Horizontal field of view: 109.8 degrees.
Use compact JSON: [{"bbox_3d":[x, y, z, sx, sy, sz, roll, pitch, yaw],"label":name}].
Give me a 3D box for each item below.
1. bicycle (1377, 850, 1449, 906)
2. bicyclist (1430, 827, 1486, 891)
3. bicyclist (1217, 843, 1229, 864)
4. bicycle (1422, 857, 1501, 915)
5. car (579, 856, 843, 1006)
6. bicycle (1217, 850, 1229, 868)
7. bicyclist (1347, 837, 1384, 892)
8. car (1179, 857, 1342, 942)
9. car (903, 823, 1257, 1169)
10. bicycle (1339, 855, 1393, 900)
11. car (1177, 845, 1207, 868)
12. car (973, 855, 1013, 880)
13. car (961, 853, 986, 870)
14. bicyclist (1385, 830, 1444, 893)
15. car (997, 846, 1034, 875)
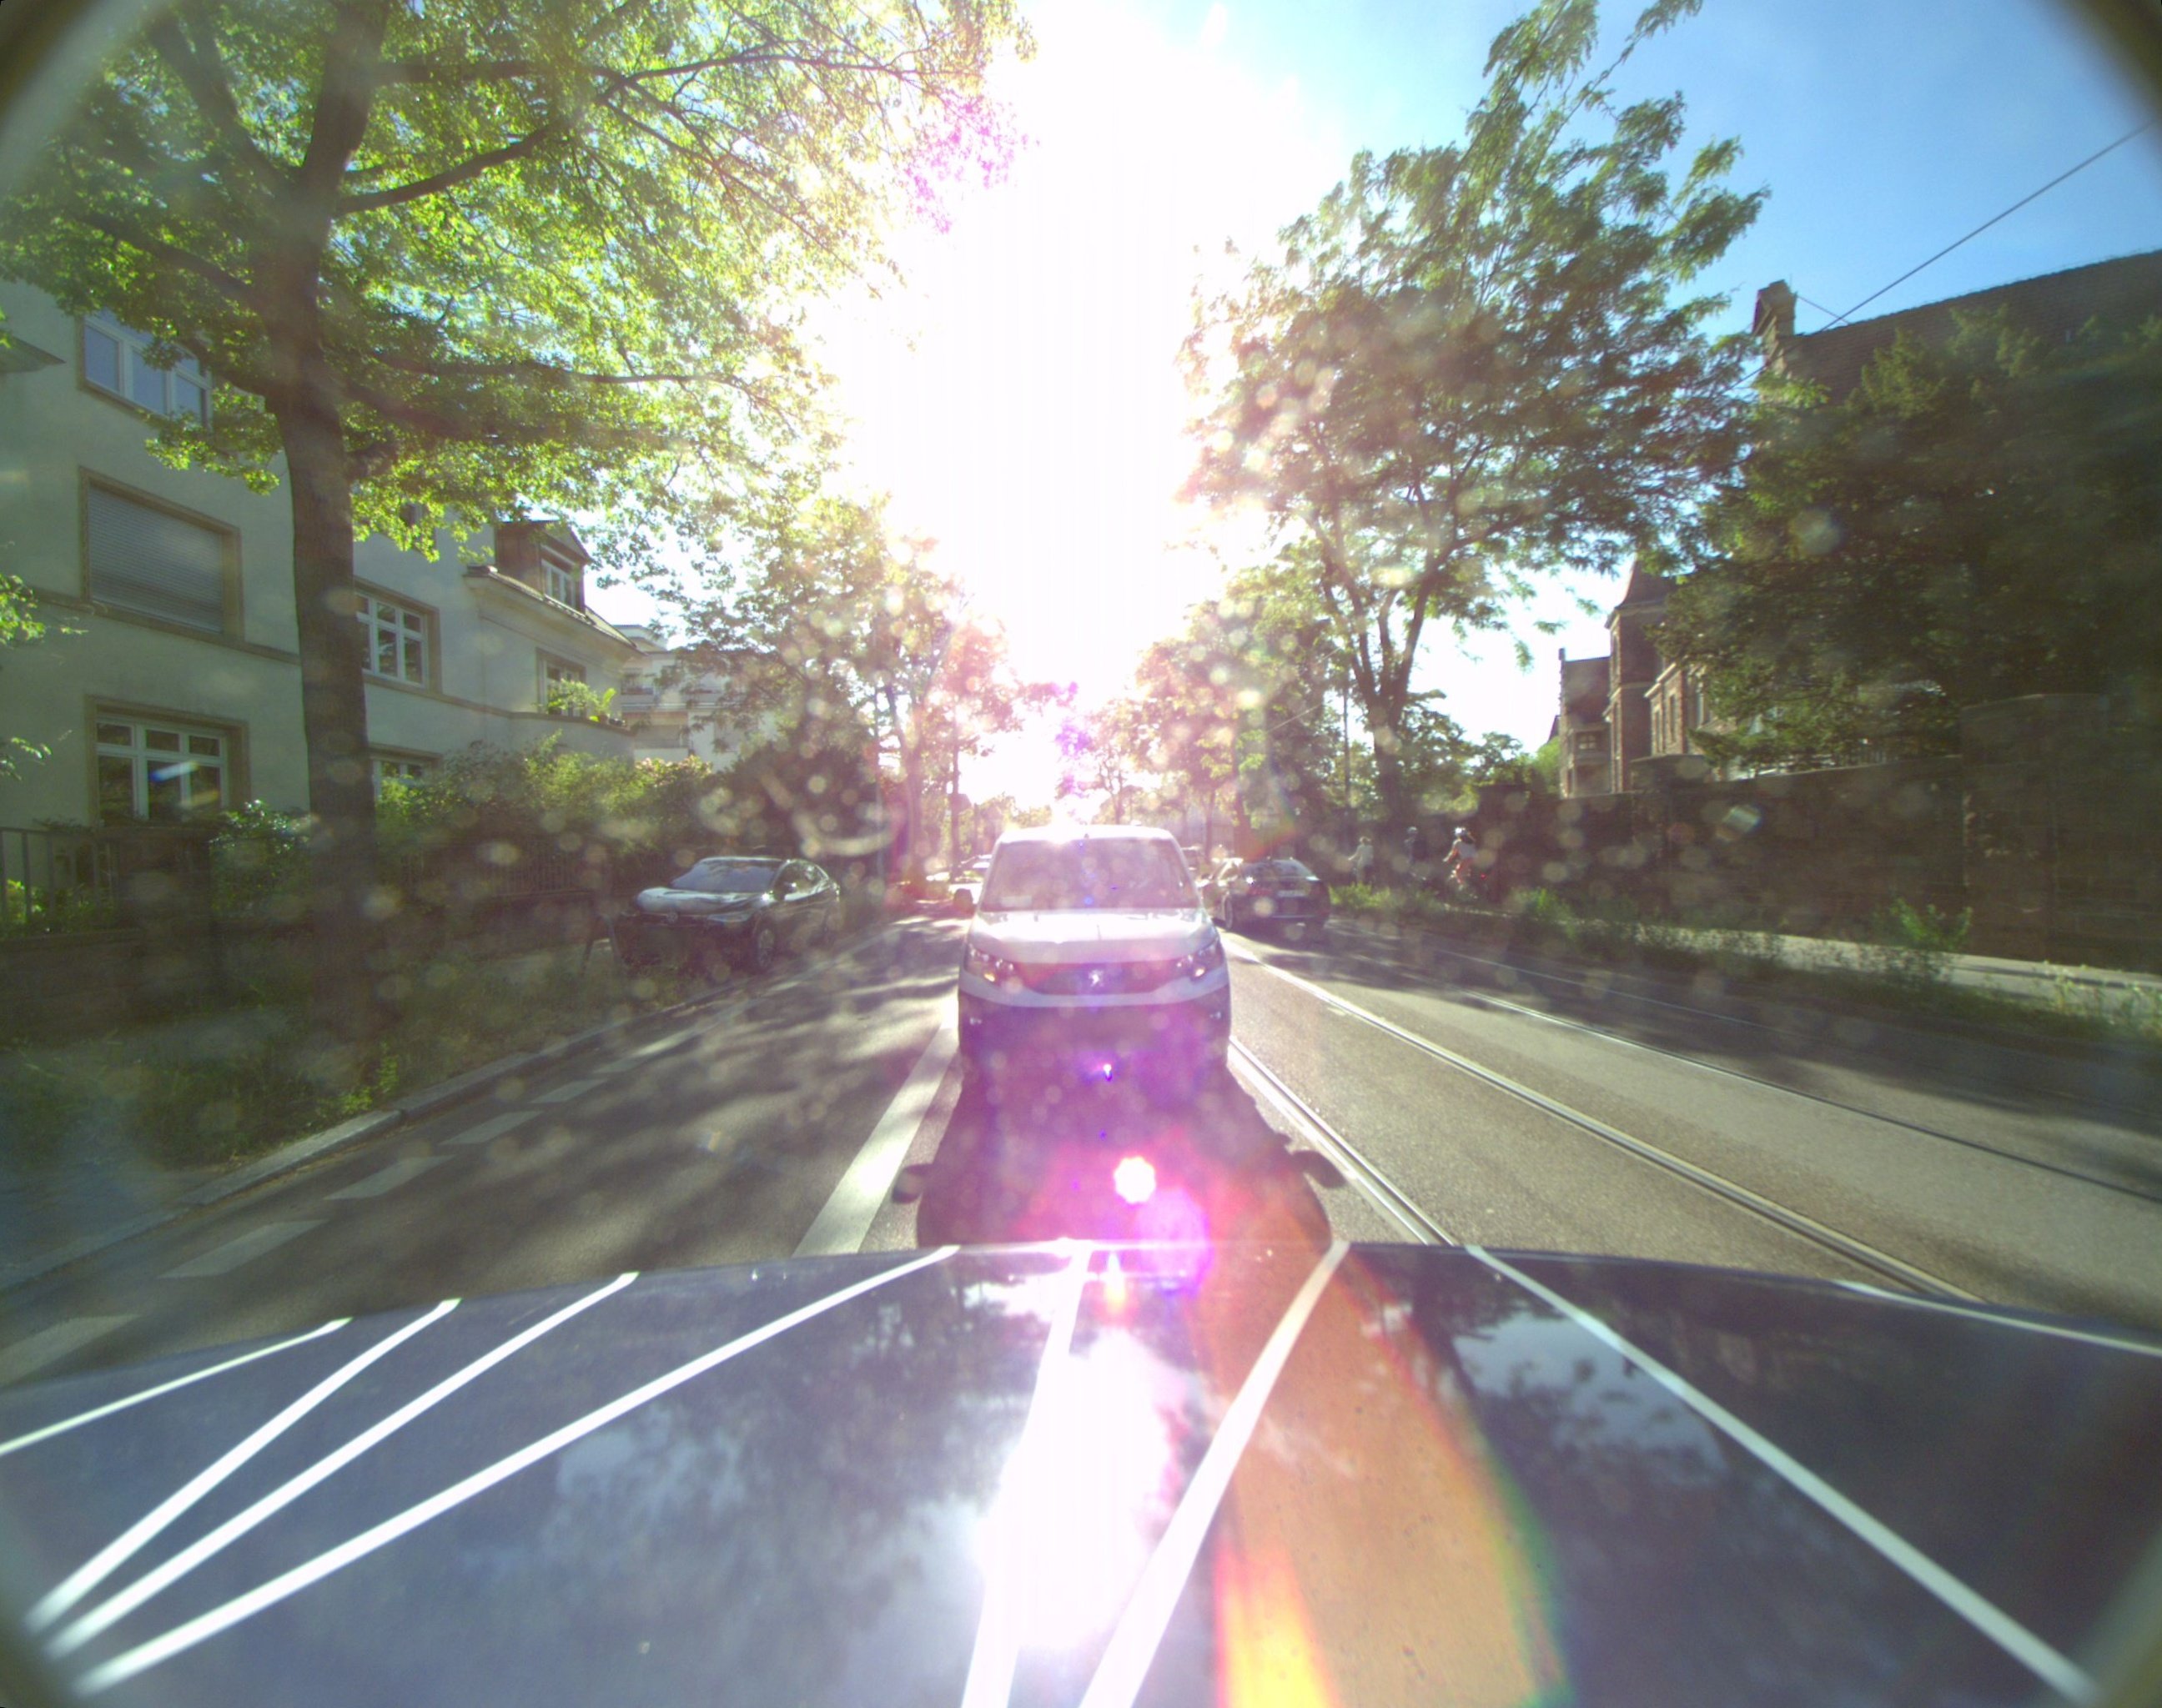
[{"bbox_3d":[7.741,0.521,17.830,0.774,1.184,2.102,-2,1,1],"label":"bicycle"},{"bbox_3d":[8.591,0.098,17.347,0.733,1.383,1.060,-2,1,1],"label":"bicyclist"},{"bbox_3d":[9.181,-0.045,49.132,0.684,1.277,0.872,-2,1,11],"label":"bicyclist"},{"bbox_3d":[8.614,0.689,17.304,0.733,1.184,2.088,-2,1,1],"label":"bicycle"},{"bbox_3d":[-5.265,0.967,11.579,1.999,1.733,4.169,-2,1,-2],"label":"car"},{"bbox_3d":[9.212,0.313,49.242,0.684,1.072,1.737,-2,1,11],"label":"bicycle"},{"bbox_3d":[8.152,0.291,21.821,0.744,1.526,0.751,-2,1,1],"label":"bicyclist"},{"bbox_3d":[3.468,0.808,15.570,1.741,1.414,4.256,-2,1,-9],"label":"car"},{"bbox_3d":[-0.036,0.727,6.201,1.832,1.788,4.333,-2,1,-1],"label":"car"},{"bbox_3d":[8.163,0.638,21.875,0.747,1.184,2.088,-2,1,1],"label":"bicycle"},{"bbox_3d":[9.283,0.218,63.137,1.829,1.800,4.004,-1,1,17],"label":"car"},{"bbox_3d":[-5.194,0.772,45.400,1.719,1.332,3.917,-2,1,3],"label":"car"},{"bbox_3d":[-10.004,0.676,70.905,1.741,1.434,3.999,-2,1,1],"label":"car"},{"bbox_3d":[7.728,0.161,17.662,0.768,1.383,1.272,-2,1,1],"label":"bicyclist"},{"bbox_3d":[-4.413,0.400,51.766,1.904,1.819,4.248,-2,1,3],"label":"car"}]
